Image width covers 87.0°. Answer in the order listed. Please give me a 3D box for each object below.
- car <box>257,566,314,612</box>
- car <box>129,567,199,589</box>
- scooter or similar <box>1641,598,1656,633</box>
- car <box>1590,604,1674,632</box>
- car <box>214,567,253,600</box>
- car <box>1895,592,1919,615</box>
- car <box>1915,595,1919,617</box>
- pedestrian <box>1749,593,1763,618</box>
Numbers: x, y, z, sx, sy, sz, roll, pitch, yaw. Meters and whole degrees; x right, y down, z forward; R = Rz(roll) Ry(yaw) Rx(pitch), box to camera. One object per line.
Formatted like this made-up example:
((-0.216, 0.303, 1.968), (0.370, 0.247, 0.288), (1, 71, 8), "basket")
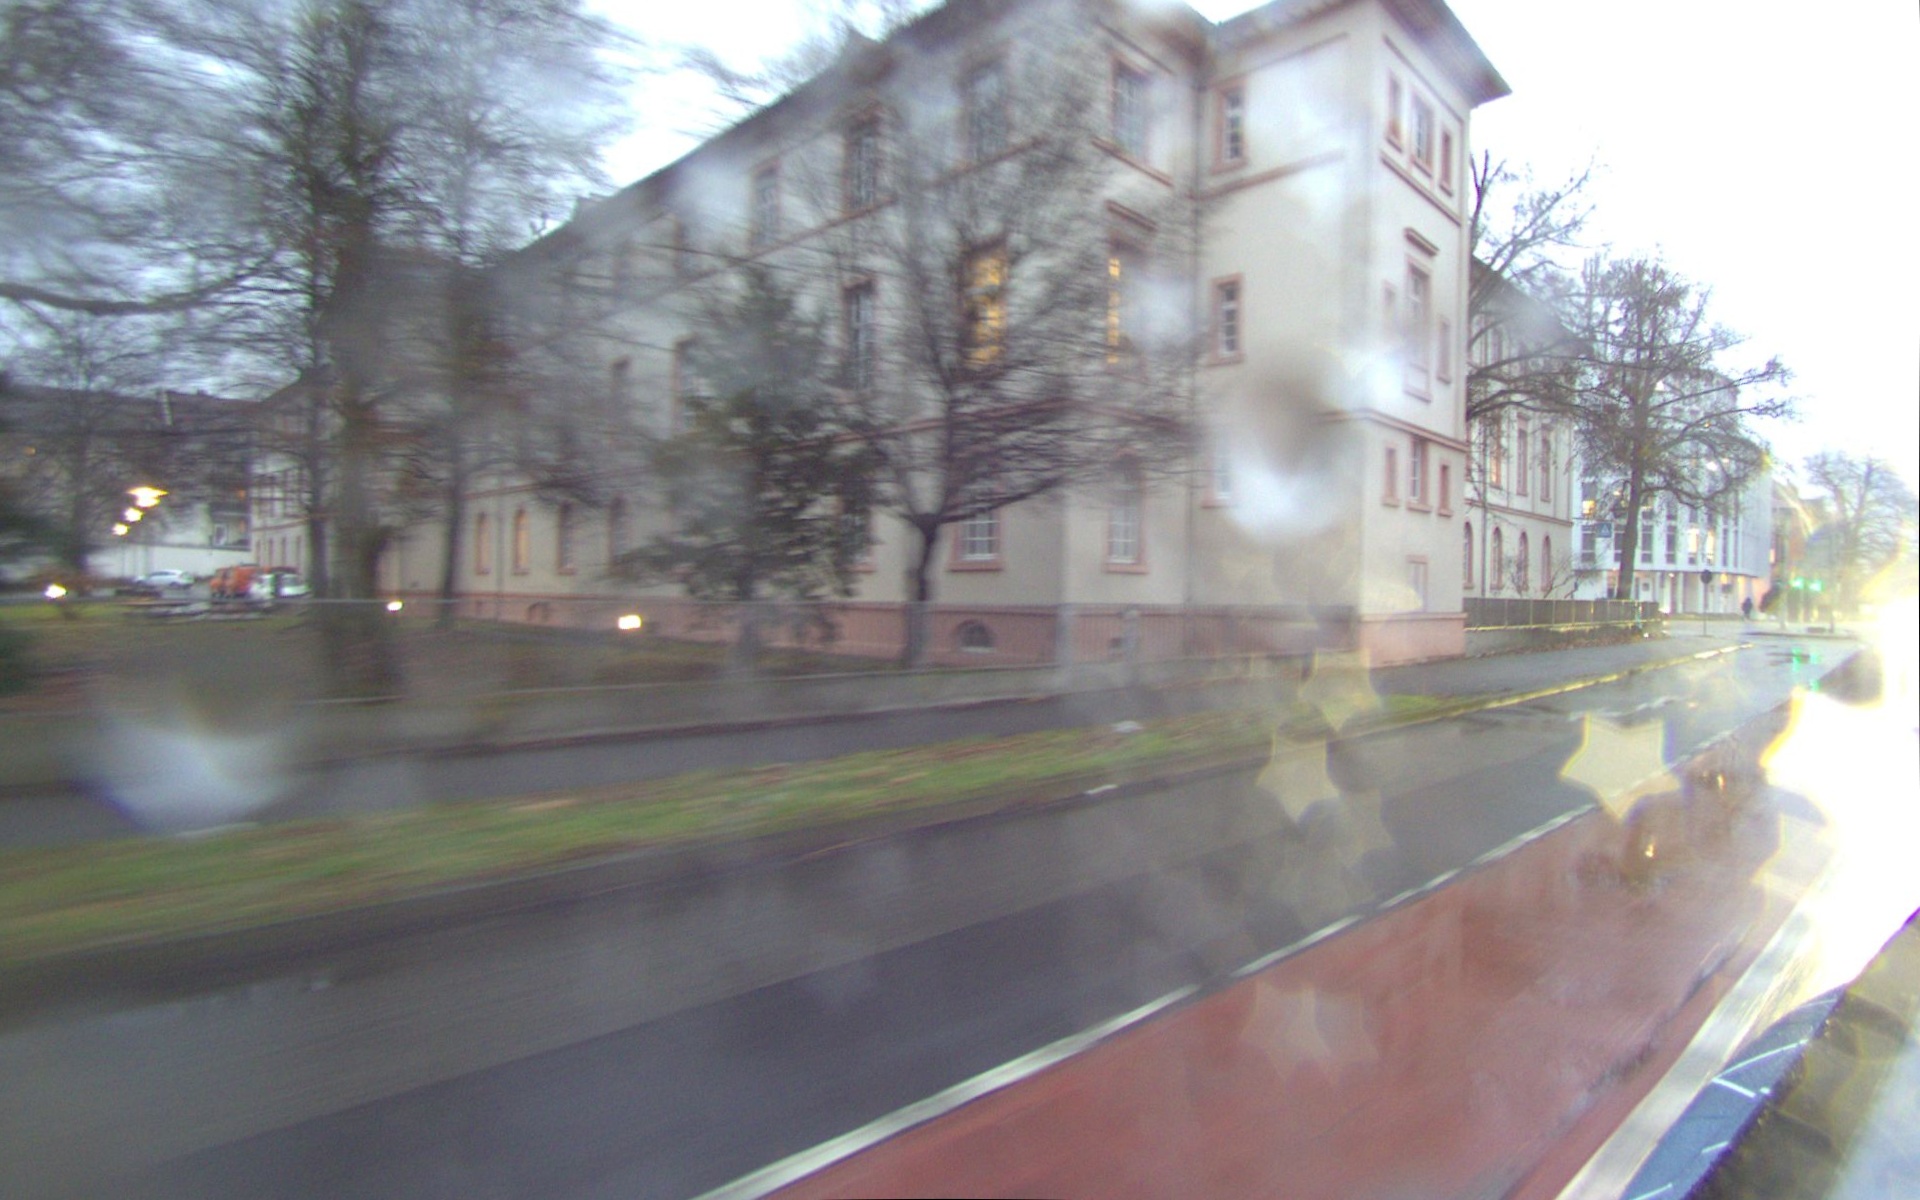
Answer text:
((-29.881, -0.467, 44.770), (1.829, 1.943, 4.095), (0, 0, -38), "car")
((-63.189, -1.743, 80.355), (4.014, 1.663, 1.734), (-1, 0, -11), "car")
((24.592, 0.546, 36.136), (0.439, 1.219, 1.067), (0, -1, 35), "scooter or similar")
((44.323, 1.141, 66.776), (4.539, 1.740, 1.704), (0, -1, 36), "car")
((-44.784, -0.997, 62.360), (1.829, 1.943, 4.095), (0, 0, -38), "car")
((72.630, 0.309, 77.081), (1.993, 1.717, 3.936), (0, -1, 44), "car")
((77.867, 0.467, 81.086), (1.993, 1.725, 3.936), (0, -1, 44), "car")
((51.691, 0.350, 65.727), (0.652, 1.609, 0.555), (0, -1, 36), "pedestrian")
